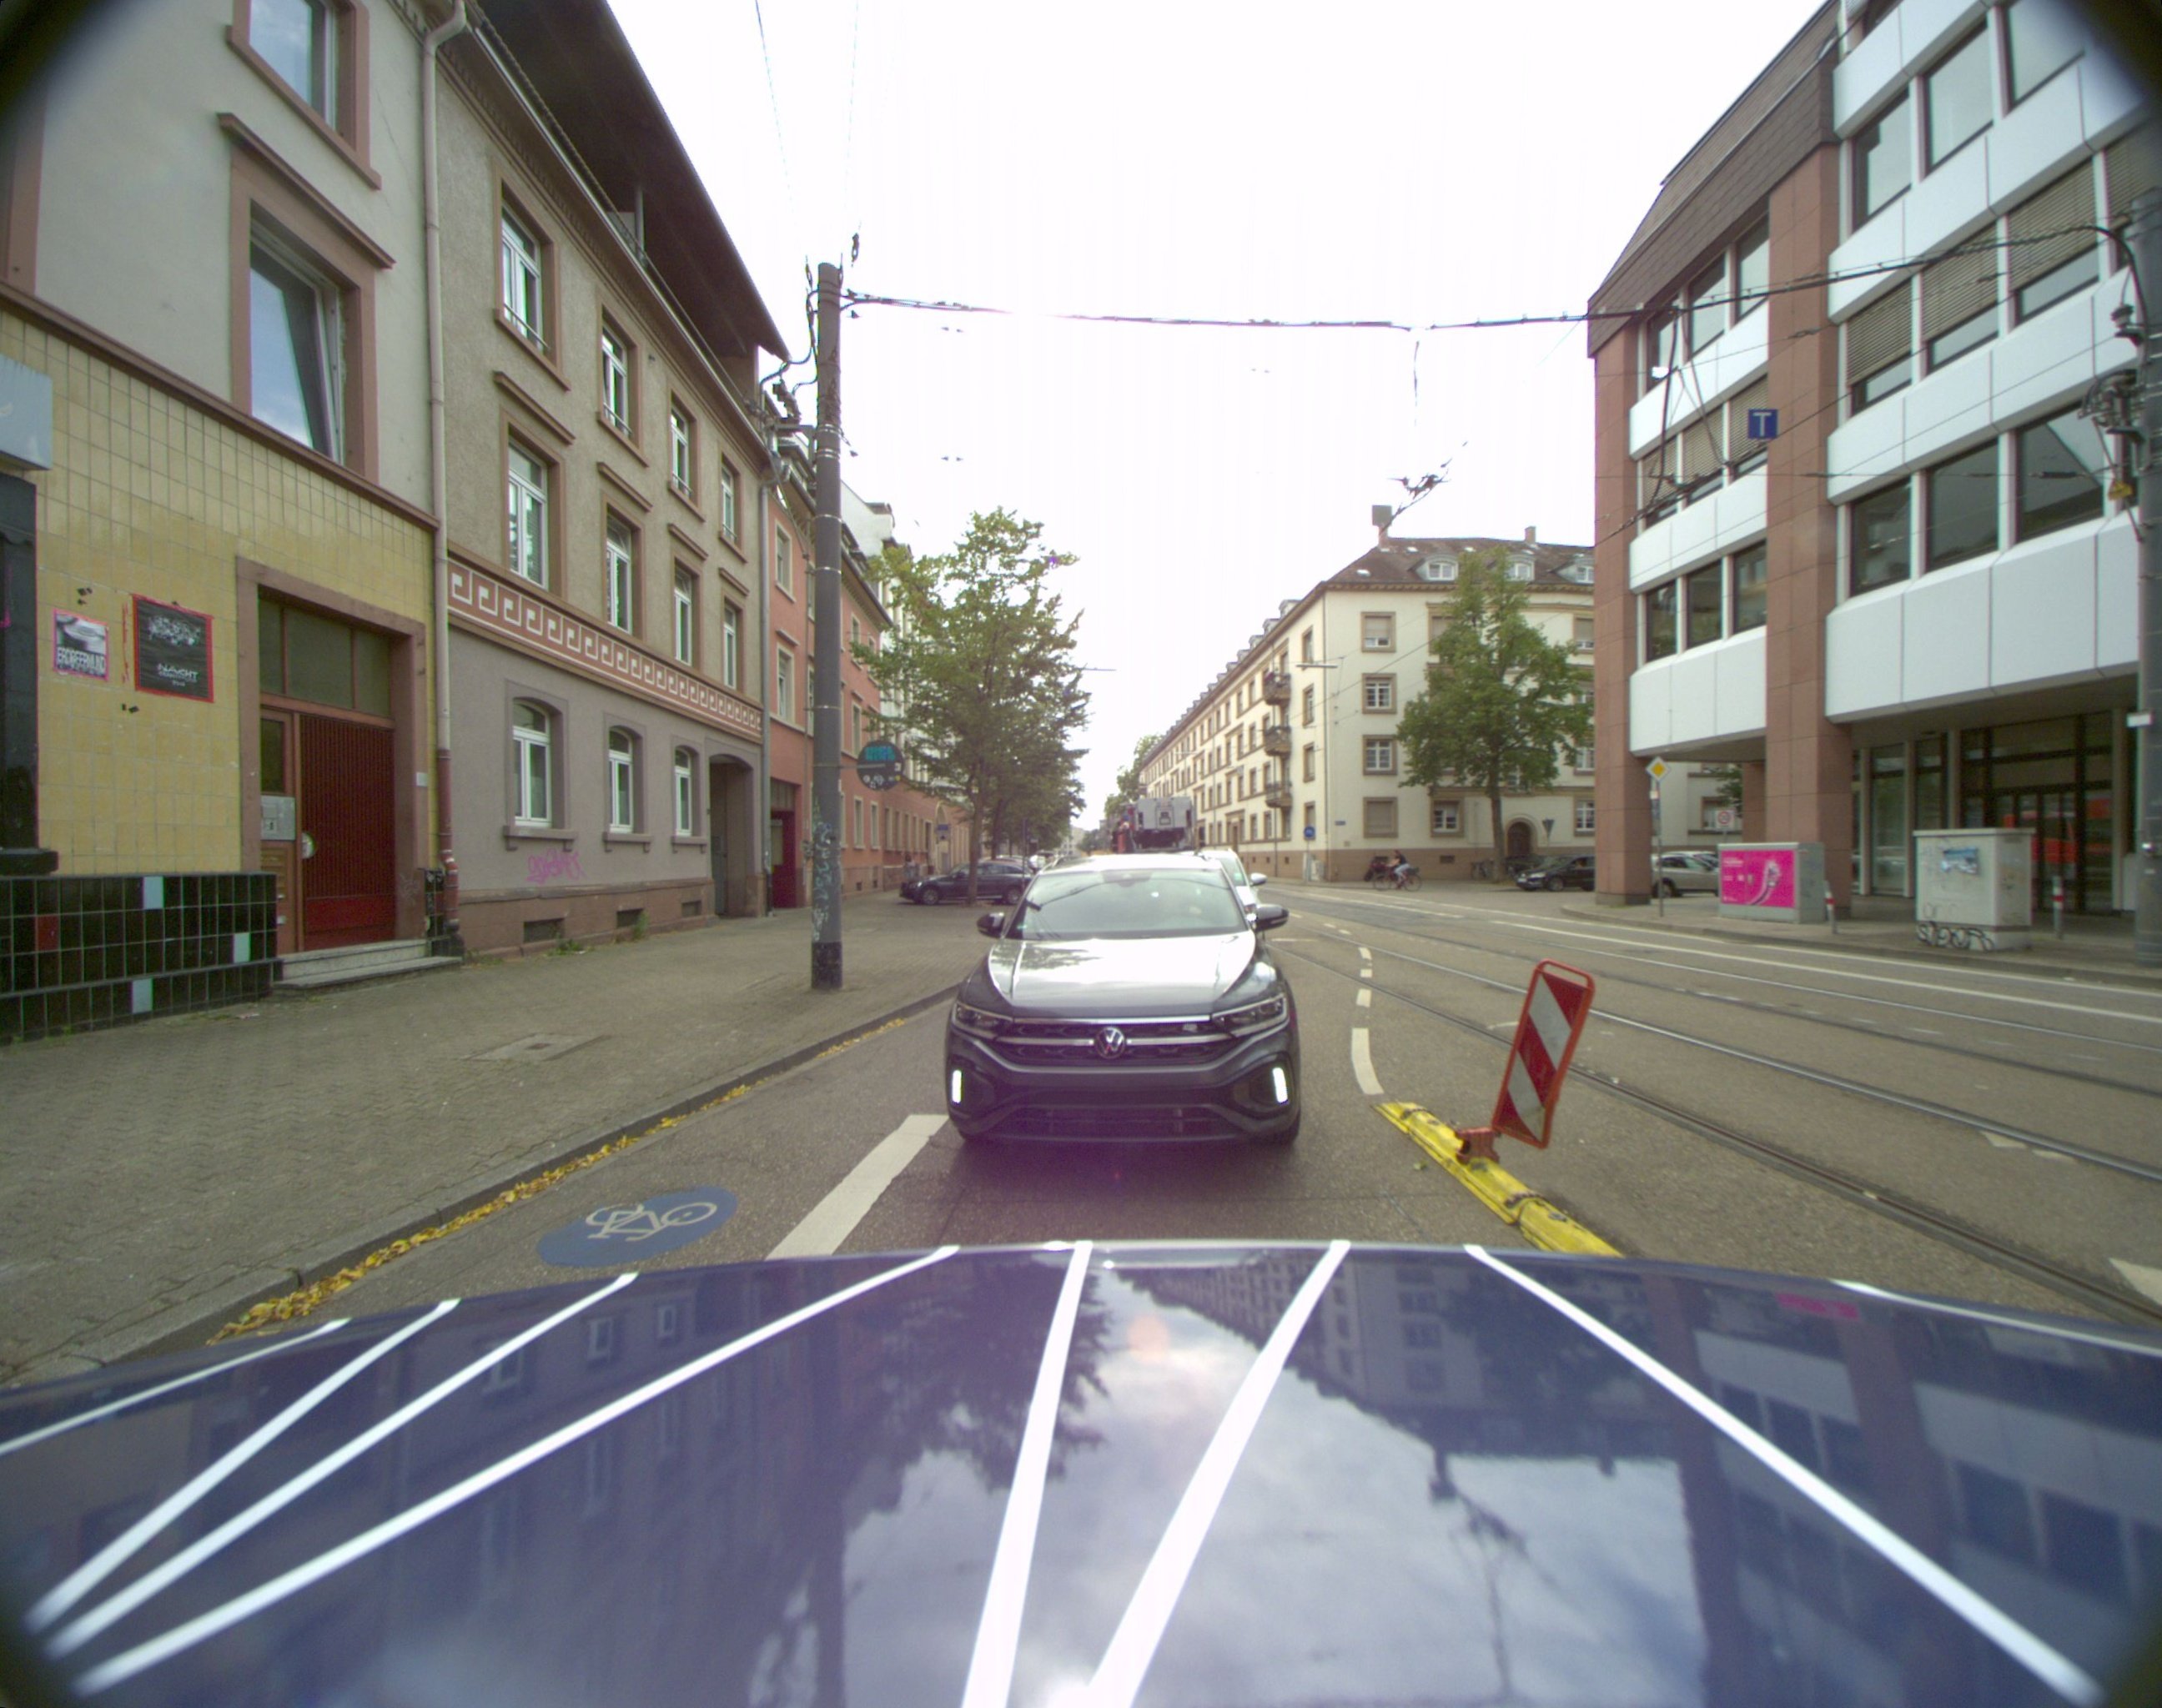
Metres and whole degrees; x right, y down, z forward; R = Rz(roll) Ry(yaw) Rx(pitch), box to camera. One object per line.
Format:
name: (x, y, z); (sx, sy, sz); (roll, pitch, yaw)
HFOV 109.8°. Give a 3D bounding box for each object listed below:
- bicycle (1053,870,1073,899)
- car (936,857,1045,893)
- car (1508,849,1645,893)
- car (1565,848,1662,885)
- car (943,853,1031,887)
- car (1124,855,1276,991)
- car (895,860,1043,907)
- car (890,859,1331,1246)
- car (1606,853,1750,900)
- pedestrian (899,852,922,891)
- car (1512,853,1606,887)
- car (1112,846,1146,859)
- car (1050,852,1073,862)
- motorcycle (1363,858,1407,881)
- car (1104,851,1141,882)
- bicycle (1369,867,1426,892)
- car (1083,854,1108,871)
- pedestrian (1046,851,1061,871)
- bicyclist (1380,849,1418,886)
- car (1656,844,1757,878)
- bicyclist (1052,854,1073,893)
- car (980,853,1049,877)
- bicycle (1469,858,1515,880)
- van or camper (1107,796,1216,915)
bicycle: (-0.713, 1.178, 29.789); (0.714, 1.012, 1.800); (-2, 0, -1)
car: (-3.902, 0.902, 32.776); (4.351, 1.471, 1.786); (1, 0, -24)
car: (18.966, 0.643, 29.248); (4.043, 1.528, 1.776); (-2, 0, 9)
car: (23.559, 0.531, 33.794); (1.611, 1.538, 3.715); (-1, 0, -3)
car: (-4.946, 0.845, 39.912); (4.245, 1.688, 1.736); (1, 0, -24)
car: (1.629, 0.848, 11.328); (1.772, 1.582, 4.284); (-2, 0, 5)
car: (-3.788, 0.965, 25.703); (4.635, 1.464, 1.786); (1, 0, -24)
car: (0.274, 0.852, 5.283); (1.773, 1.538, 4.283); (-2, 0, 5)
car: (19.182, 0.693, 24.455); (3.650, 1.380, 1.611); (-1, 0, -9)
pedestrian: (-7.480, 0.754, 33.457); (0.732, 1.678, 0.926); (3, 0, -1)
car: (21.159, 0.665, 33.831); (1.611, 1.388, 3.874); (-1, 0, -3)
car: (8.423, -0.290, 133.270); (5.920, 2.142, 2.550); (-1, 0, 7)
car: (-3.511, 0.483, 137.475); (4.008, 1.806, 1.895); (-1, 0, -41)
motorcycle: (15.293, 0.775, 38.270); (1.924, 1.080, 0.793); (-1, 0, -1)
car: (2.372, 0.681, 44.439); (1.998, 1.698, 4.053); (-1, 0, 1)
bicycle: (12.642, 1.015, 30.423); (2.009, 0.959, 0.673); (-1, -1, 10)
car: (1.219, 0.717, 65.850); (1.911, 1.478, 3.999); (-1, 0, -2)
pedestrian: (-2.693, 0.664, 73.263); (1.003, 1.831, 1.016); (-1, 1, -45)
bicyclist: (12.719, 0.530, 30.412); (1.258, 1.453, 0.678); (-1, 0, 10)
car: (28.485, 0.308, 34.740); (1.592, 1.453, 3.524); (-1, 0, -3)
bicyclist: (-0.737, 0.760, 29.767); (0.715, 1.498, 0.918); (-3, 0, -2)
car: (-4.819, 0.782, 55.267); (4.635, 1.688, 1.913); (1, 0, -24)
bicycle: (20.811, 0.761, 38.487); (1.924, 1.080, 0.793); (-1, 0, -1)
van or camper: (2.496, 0.047, 26.808); (2.607, 3.401, 9.651); (-1, 0, -1)
